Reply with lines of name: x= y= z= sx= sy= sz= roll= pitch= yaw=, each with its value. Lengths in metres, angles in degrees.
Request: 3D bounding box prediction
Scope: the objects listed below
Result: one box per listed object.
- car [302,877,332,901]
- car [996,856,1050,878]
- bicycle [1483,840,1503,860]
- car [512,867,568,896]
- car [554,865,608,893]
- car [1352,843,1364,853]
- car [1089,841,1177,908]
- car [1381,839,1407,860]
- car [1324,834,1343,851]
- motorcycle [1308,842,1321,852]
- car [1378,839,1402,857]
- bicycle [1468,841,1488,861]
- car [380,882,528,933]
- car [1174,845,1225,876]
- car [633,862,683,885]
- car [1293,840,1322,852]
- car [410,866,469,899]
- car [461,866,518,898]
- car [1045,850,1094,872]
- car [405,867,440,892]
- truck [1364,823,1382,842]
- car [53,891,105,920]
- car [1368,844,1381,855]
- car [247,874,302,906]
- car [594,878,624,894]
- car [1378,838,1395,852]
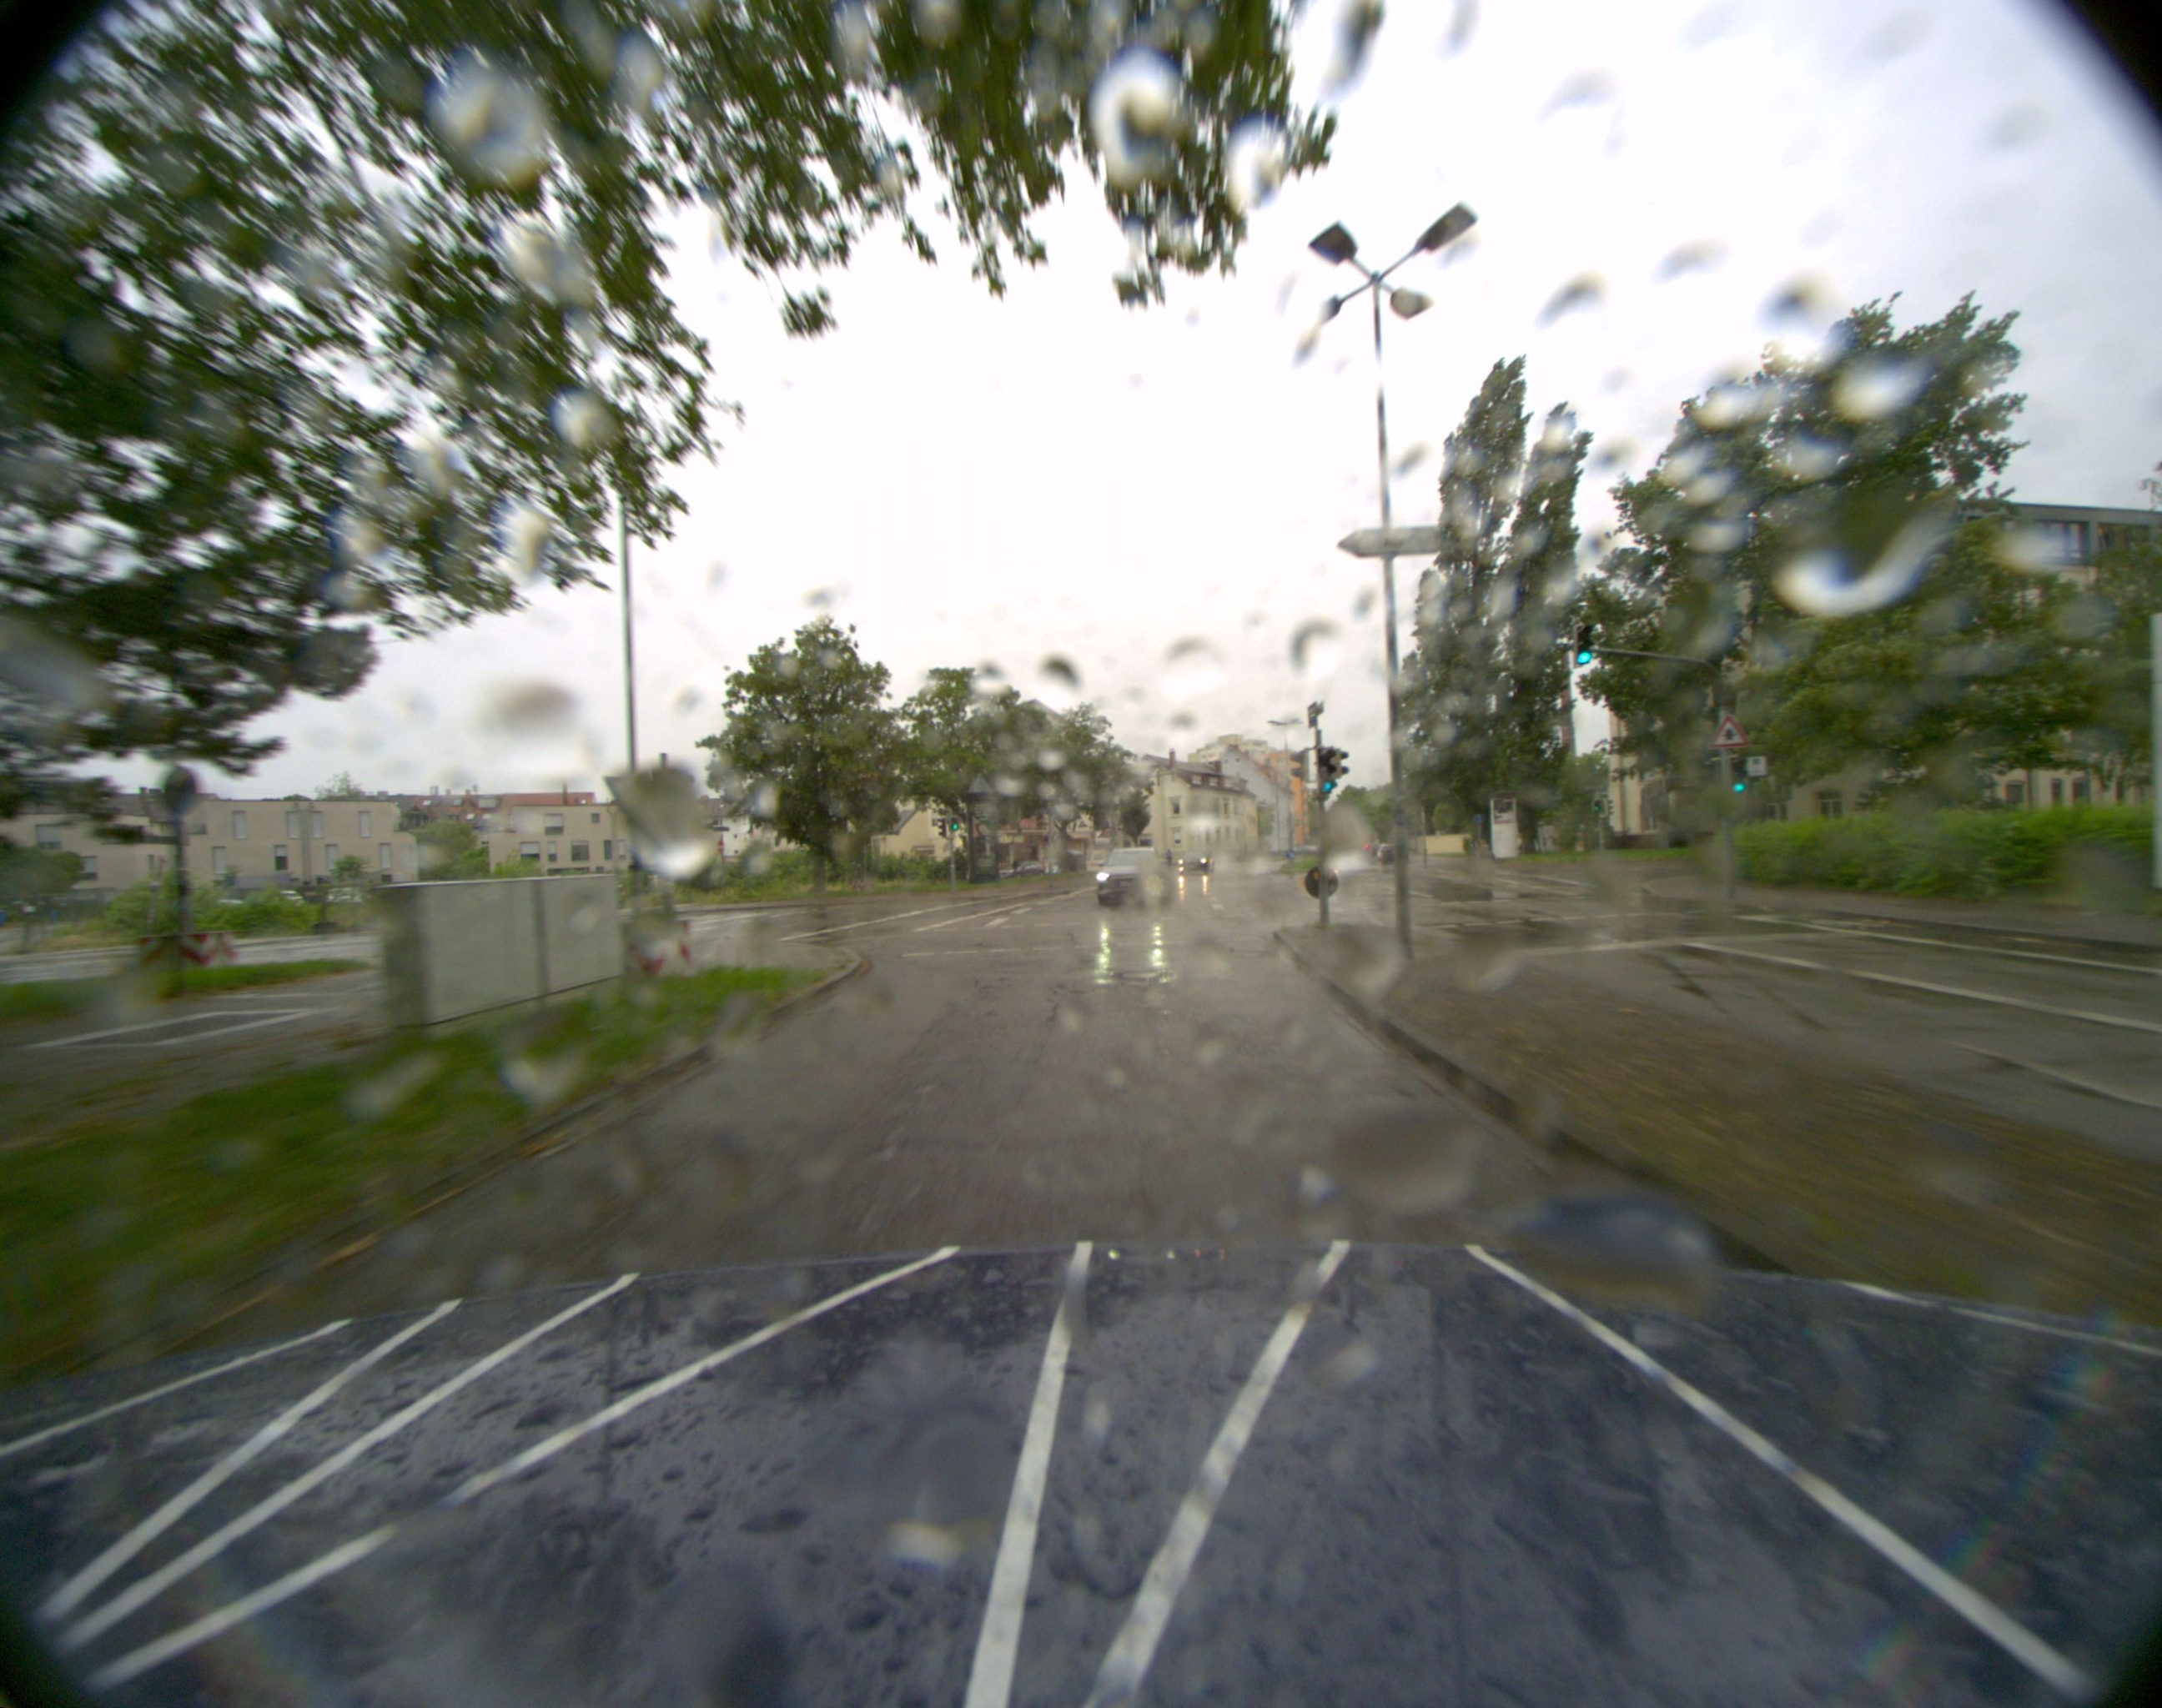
car: x=-64.271 y=2.947 z=63.946 sx=1.675 sy=1.902 sz=3.989 roll=-4 pitch=1 yaw=-45
car: x=-4.275 y=0.951 z=56.658 sx=1.699 sy=1.425 sz=4.164 roll=-3 pitch=1 yaw=35
bicycle: x=23.128 y=-0.219 z=42.665 sx=0.556 sy=1.071 sz=1.797 roll=-3 pitch=1 yaw=15
car: x=-39.410 y=1.996 z=55.338 sx=3.989 sy=1.849 sz=2.003 roll=-3 pitch=1 yaw=36
car: x=-37.746 y=1.885 z=57.388 sx=3.989 sy=1.849 sz=2.003 roll=-3 pitch=1 yaw=36
car: x=42.362 y=-0.945 z=116.202 sx=1.728 sy=1.385 sz=3.955 roll=0 pitch=2 yaw=20
car: x=1.670 y=0.537 z=22.850 sx=1.959 sy=1.702 sz=4.178 roll=-3 pitch=1 yaw=13
car: x=23.915 y=-0.363 z=58.169 sx=1.546 sy=1.389 sz=4.199 roll=-4 pitch=0 yaw=20
car: x=35.609 y=-1.655 z=106.965 sx=2.191 sy=2.242 sz=4.891 roll=-3 pitch=1 yaw=22
motorcycle: x=34.412 y=-0.988 z=112.059 sx=1.764 sy=1.365 sz=0.736 roll=-3 pitch=1 yaw=23
car: x=27.892 y=-0.543 z=68.645 sx=1.604 sy=1.465 sz=4.127 roll=-3 pitch=1 yaw=18
bicycle: x=24.033 y=-0.197 z=46.000 sx=0.698 sy=1.179 sz=1.626 roll=-3 pitch=1 yaw=15
car: x=-25.394 y=2.116 z=30.873 sx=1.855 sy=1.645 sz=4.313 roll=-3 pitch=1 yaw=42
car: x=7.204 y=0.376 z=45.923 sx=1.829 sy=1.619 sz=4.006 roll=-3 pitch=1 yaw=26
car: x=-34.195 y=1.591 z=61.369 sx=3.989 sy=1.674 sz=1.912 roll=-3 pitch=1 yaw=36
car: x=34.777 y=-1.160 z=116.715 sx=3.918 sy=1.605 sz=1.694 roll=-3 pitch=1 yaw=23
car: x=-42.837 y=1.908 z=50.741 sx=3.989 sy=2.002 sz=2.004 roll=-3 pitch=1 yaw=36
car: x=-41.289 y=1.990 z=52.999 sx=3.989 sy=2.002 sz=2.004 roll=-3 pitch=1 yaw=36
car: x=-0.864 y=0.539 z=60.487 sx=1.635 sy=1.425 sz=4.184 roll=-3 pitch=1 yaw=35
car: x=-59.015 y=2.298 z=68.092 sx=2.004 sy=2.002 sz=3.989 roll=-4 pitch=1 yaw=-44
truck: x=73.453 y=-5.465 z=191.262 sx=3.827 sy=4.359 sz=10.800 roll=-3 pitch=1 yaw=22
car: x=-73.732 y=3.780 z=55.956 sx=1.675 sy=1.902 sz=3.989 roll=-4 pitch=1 yaw=-45
car: x=46.196 y=-0.728 z=119.420 sx=1.692 sy=1.445 sz=3.723 roll=-3 pitch=1 yaw=23
car: x=-55.728 y=2.502 z=52.491 sx=3.989 sy=2.002 sz=2.004 roll=-3 pitch=1 yaw=36
car: x=-43.201 y=2.912 z=69.516 sx=1.770 sy=1.335 sz=4.082 roll=-4 pitch=1 yaw=-39
car: x=35.314 y=-1.043 z=87.858 sx=1.698 sy=1.436 sz=4.102 roll=-4 pitch=0 yaw=21
